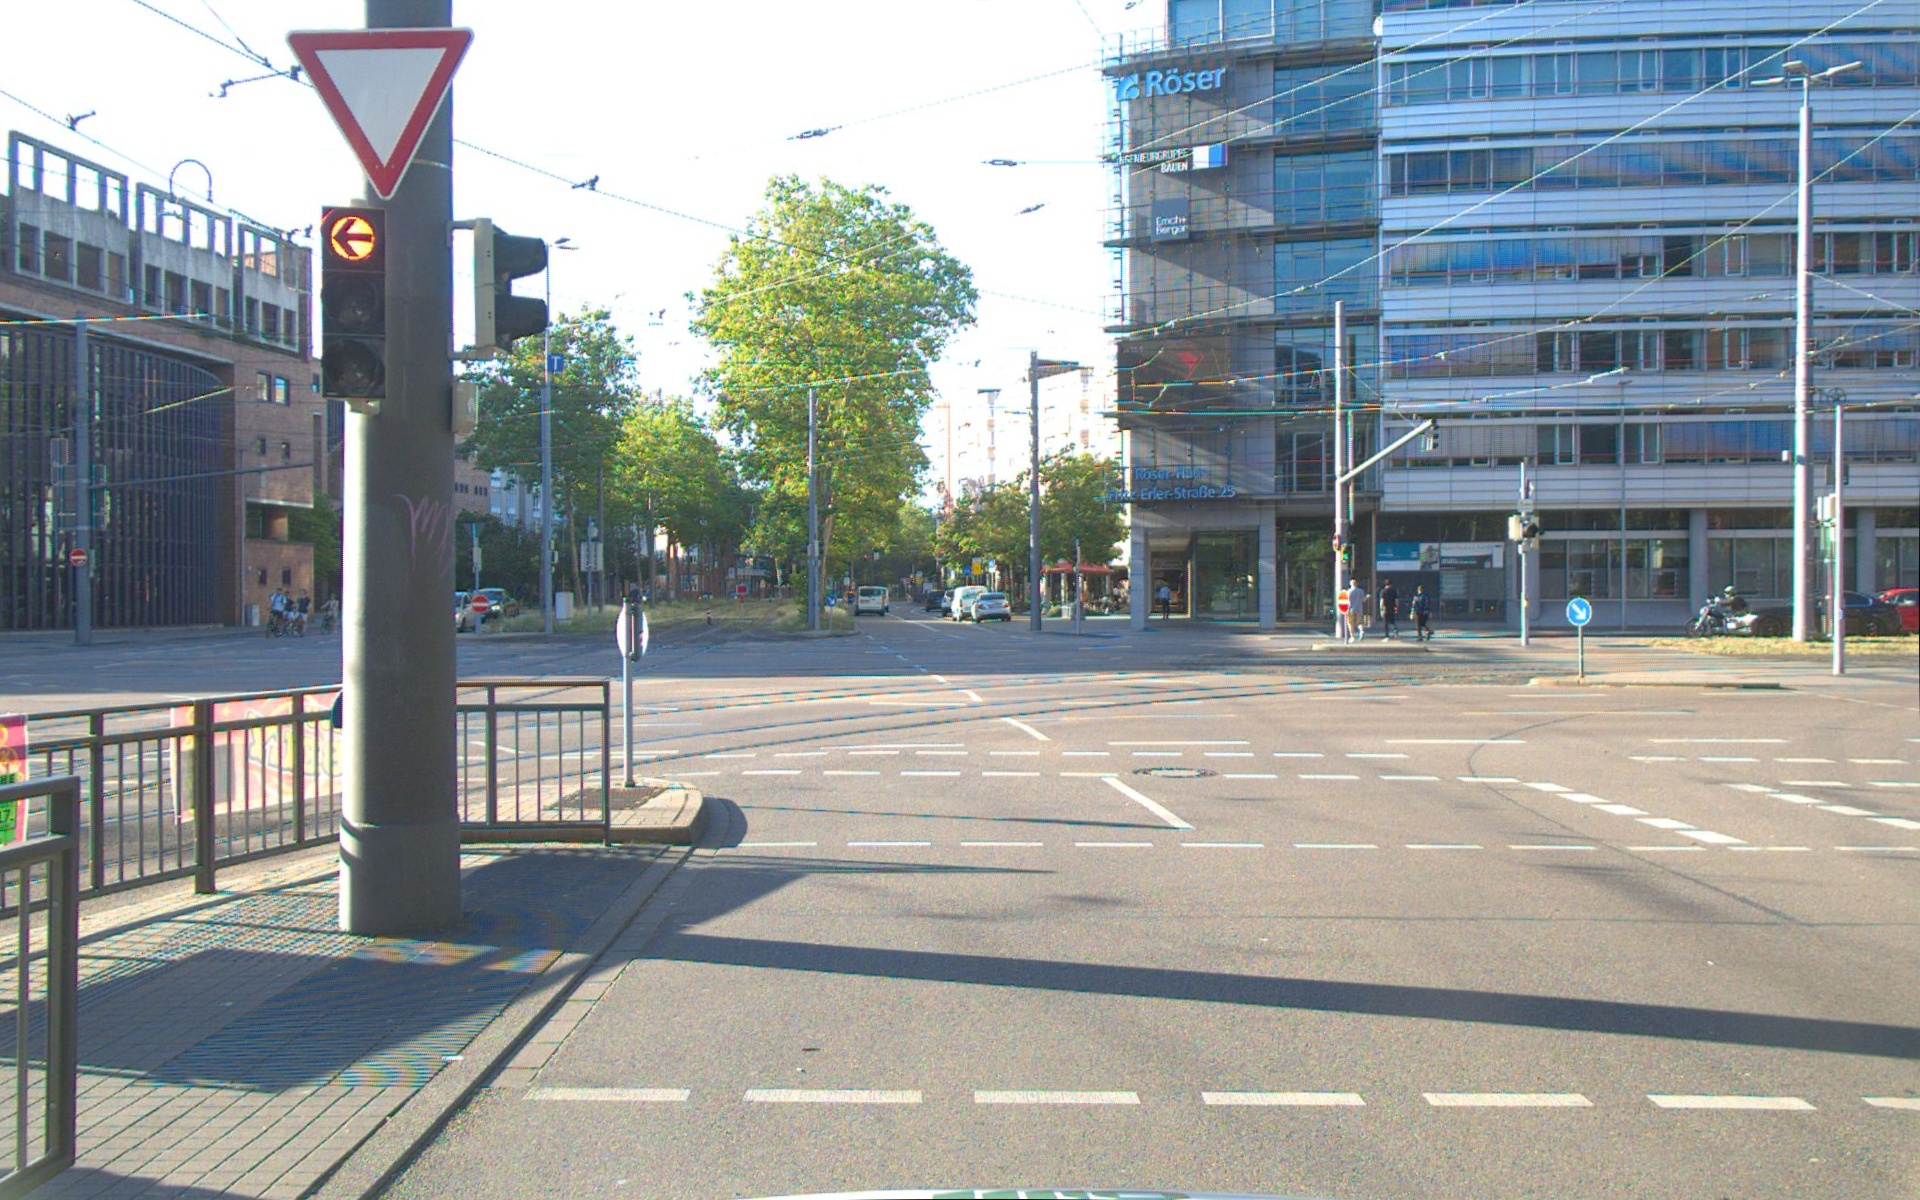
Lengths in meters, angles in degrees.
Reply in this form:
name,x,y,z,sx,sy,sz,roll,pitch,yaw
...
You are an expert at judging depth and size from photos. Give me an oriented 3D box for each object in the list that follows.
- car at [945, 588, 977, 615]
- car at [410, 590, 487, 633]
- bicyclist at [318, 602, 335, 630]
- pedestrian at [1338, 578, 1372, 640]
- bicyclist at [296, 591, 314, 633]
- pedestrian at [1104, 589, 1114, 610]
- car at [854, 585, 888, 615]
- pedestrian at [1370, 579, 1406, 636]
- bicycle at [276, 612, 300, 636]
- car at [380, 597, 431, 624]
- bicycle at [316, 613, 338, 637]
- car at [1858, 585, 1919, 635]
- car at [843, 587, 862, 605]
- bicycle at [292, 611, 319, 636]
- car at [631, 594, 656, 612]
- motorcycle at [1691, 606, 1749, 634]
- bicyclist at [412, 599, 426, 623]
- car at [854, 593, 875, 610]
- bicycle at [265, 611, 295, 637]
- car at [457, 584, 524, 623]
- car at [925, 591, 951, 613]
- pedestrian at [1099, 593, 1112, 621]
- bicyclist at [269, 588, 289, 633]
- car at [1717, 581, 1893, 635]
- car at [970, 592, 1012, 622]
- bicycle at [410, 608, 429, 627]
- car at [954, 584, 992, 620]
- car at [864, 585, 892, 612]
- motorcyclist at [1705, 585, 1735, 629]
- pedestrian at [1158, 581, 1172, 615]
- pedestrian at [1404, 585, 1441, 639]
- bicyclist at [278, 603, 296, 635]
name,x,y,z,sx,sy,sz,roll,pitch,yaw
car,0.036,0.067,105.205,1.953,1.646,3.999,-1,0,-1
car,-20.667,0.441,67.030,1.953,1.668,3.999,-1,0,-2
bicyclist,-27.192,0.681,70.953,0.495,1.199,0.581,-1,0,-1
pedestrian,11.720,0.268,49.126,0.845,1.820,0.872,-1,0,6
bicyclist,-25.844,0.458,65.266,0.449,1.631,0.581,-1,0,-1
pedestrian,9.621,-0.044,106.743,0.565,1.311,0.910,-1,0,-1
car,-5.616,-0.023,105.340,1.921,1.881,5.329,-1,0,-1
pedestrian,12.977,0.230,50.128,0.893,1.714,1.036,-1,0,6
bicycle,-27.681,0.980,68.128,0.458,0.980,1.320,-1,0,-1
car,-31.464,0.560,93.919,1.633,1.461,3.999,-1,0,-2
bicycle,-27.174,1.067,71.043,0.442,0.980,1.347,-1,0,-1
car,29.365,0.253,49.567,3.903,1.418,1.786,-2,0,4
car,-12.568,-0.475,193.344,1.953,2.049,3.999,-1,0,-1
bicycle,-25.851,0.926,65.338,0.463,0.980,1.575,-1,0,-1
car,-33.480,0.300,175.036,1.953,1.847,3.999,-1,0,-1
motorcycle,22.890,0.607,49.831,1.535,0.824,0.467,-1,0,3
bicyclist,-27.872,0.572,85.211,0.495,1.232,0.581,-1,0,-1
car,-8.509,0.151,147.191,1.762,1.467,3.998,1,0,-3
bicycle,-26.797,0.950,65.166,0.531,0.980,1.586,-1,0,-1
car,-21.120,0.141,74.589,1.953,1.668,3.999,-1,0,-2
car,-1.679,0.127,126.629,1.953,1.646,3.999,-1,0,-1
pedestrian,9.228,0.453,105.042,0.729,1.744,0.612,-1,0,-1
bicyclist,-26.800,0.402,65.090,0.525,1.761,0.581,-1,0,-1
car,23.984,0.223,47.030,4.070,1.423,1.786,-1,0,4
car,1.537,0.334,82.783,1.953,1.400,3.999,-1,0,-1
bicycle,-27.904,0.898,85.359,0.482,0.980,1.486,-1,0,-1
car,0.688,0.113,89.569,1.953,1.892,3.999,-1,0,-1
car,-6.211,-0.125,125.974,1.953,1.945,3.999,-1,0,-1
motorcyclist,22.878,0.215,49.812,0.697,1.298,0.460,-1,0,3
pedestrian,9.213,-0.101,74.253,0.599,1.534,0.579,-1,0,9
pedestrian,13.866,0.366,49.605,0.928,1.591,0.897,-1,0,6
bicyclist,-27.715,0.780,68.117,0.495,1.327,0.581,-1,0,-1
